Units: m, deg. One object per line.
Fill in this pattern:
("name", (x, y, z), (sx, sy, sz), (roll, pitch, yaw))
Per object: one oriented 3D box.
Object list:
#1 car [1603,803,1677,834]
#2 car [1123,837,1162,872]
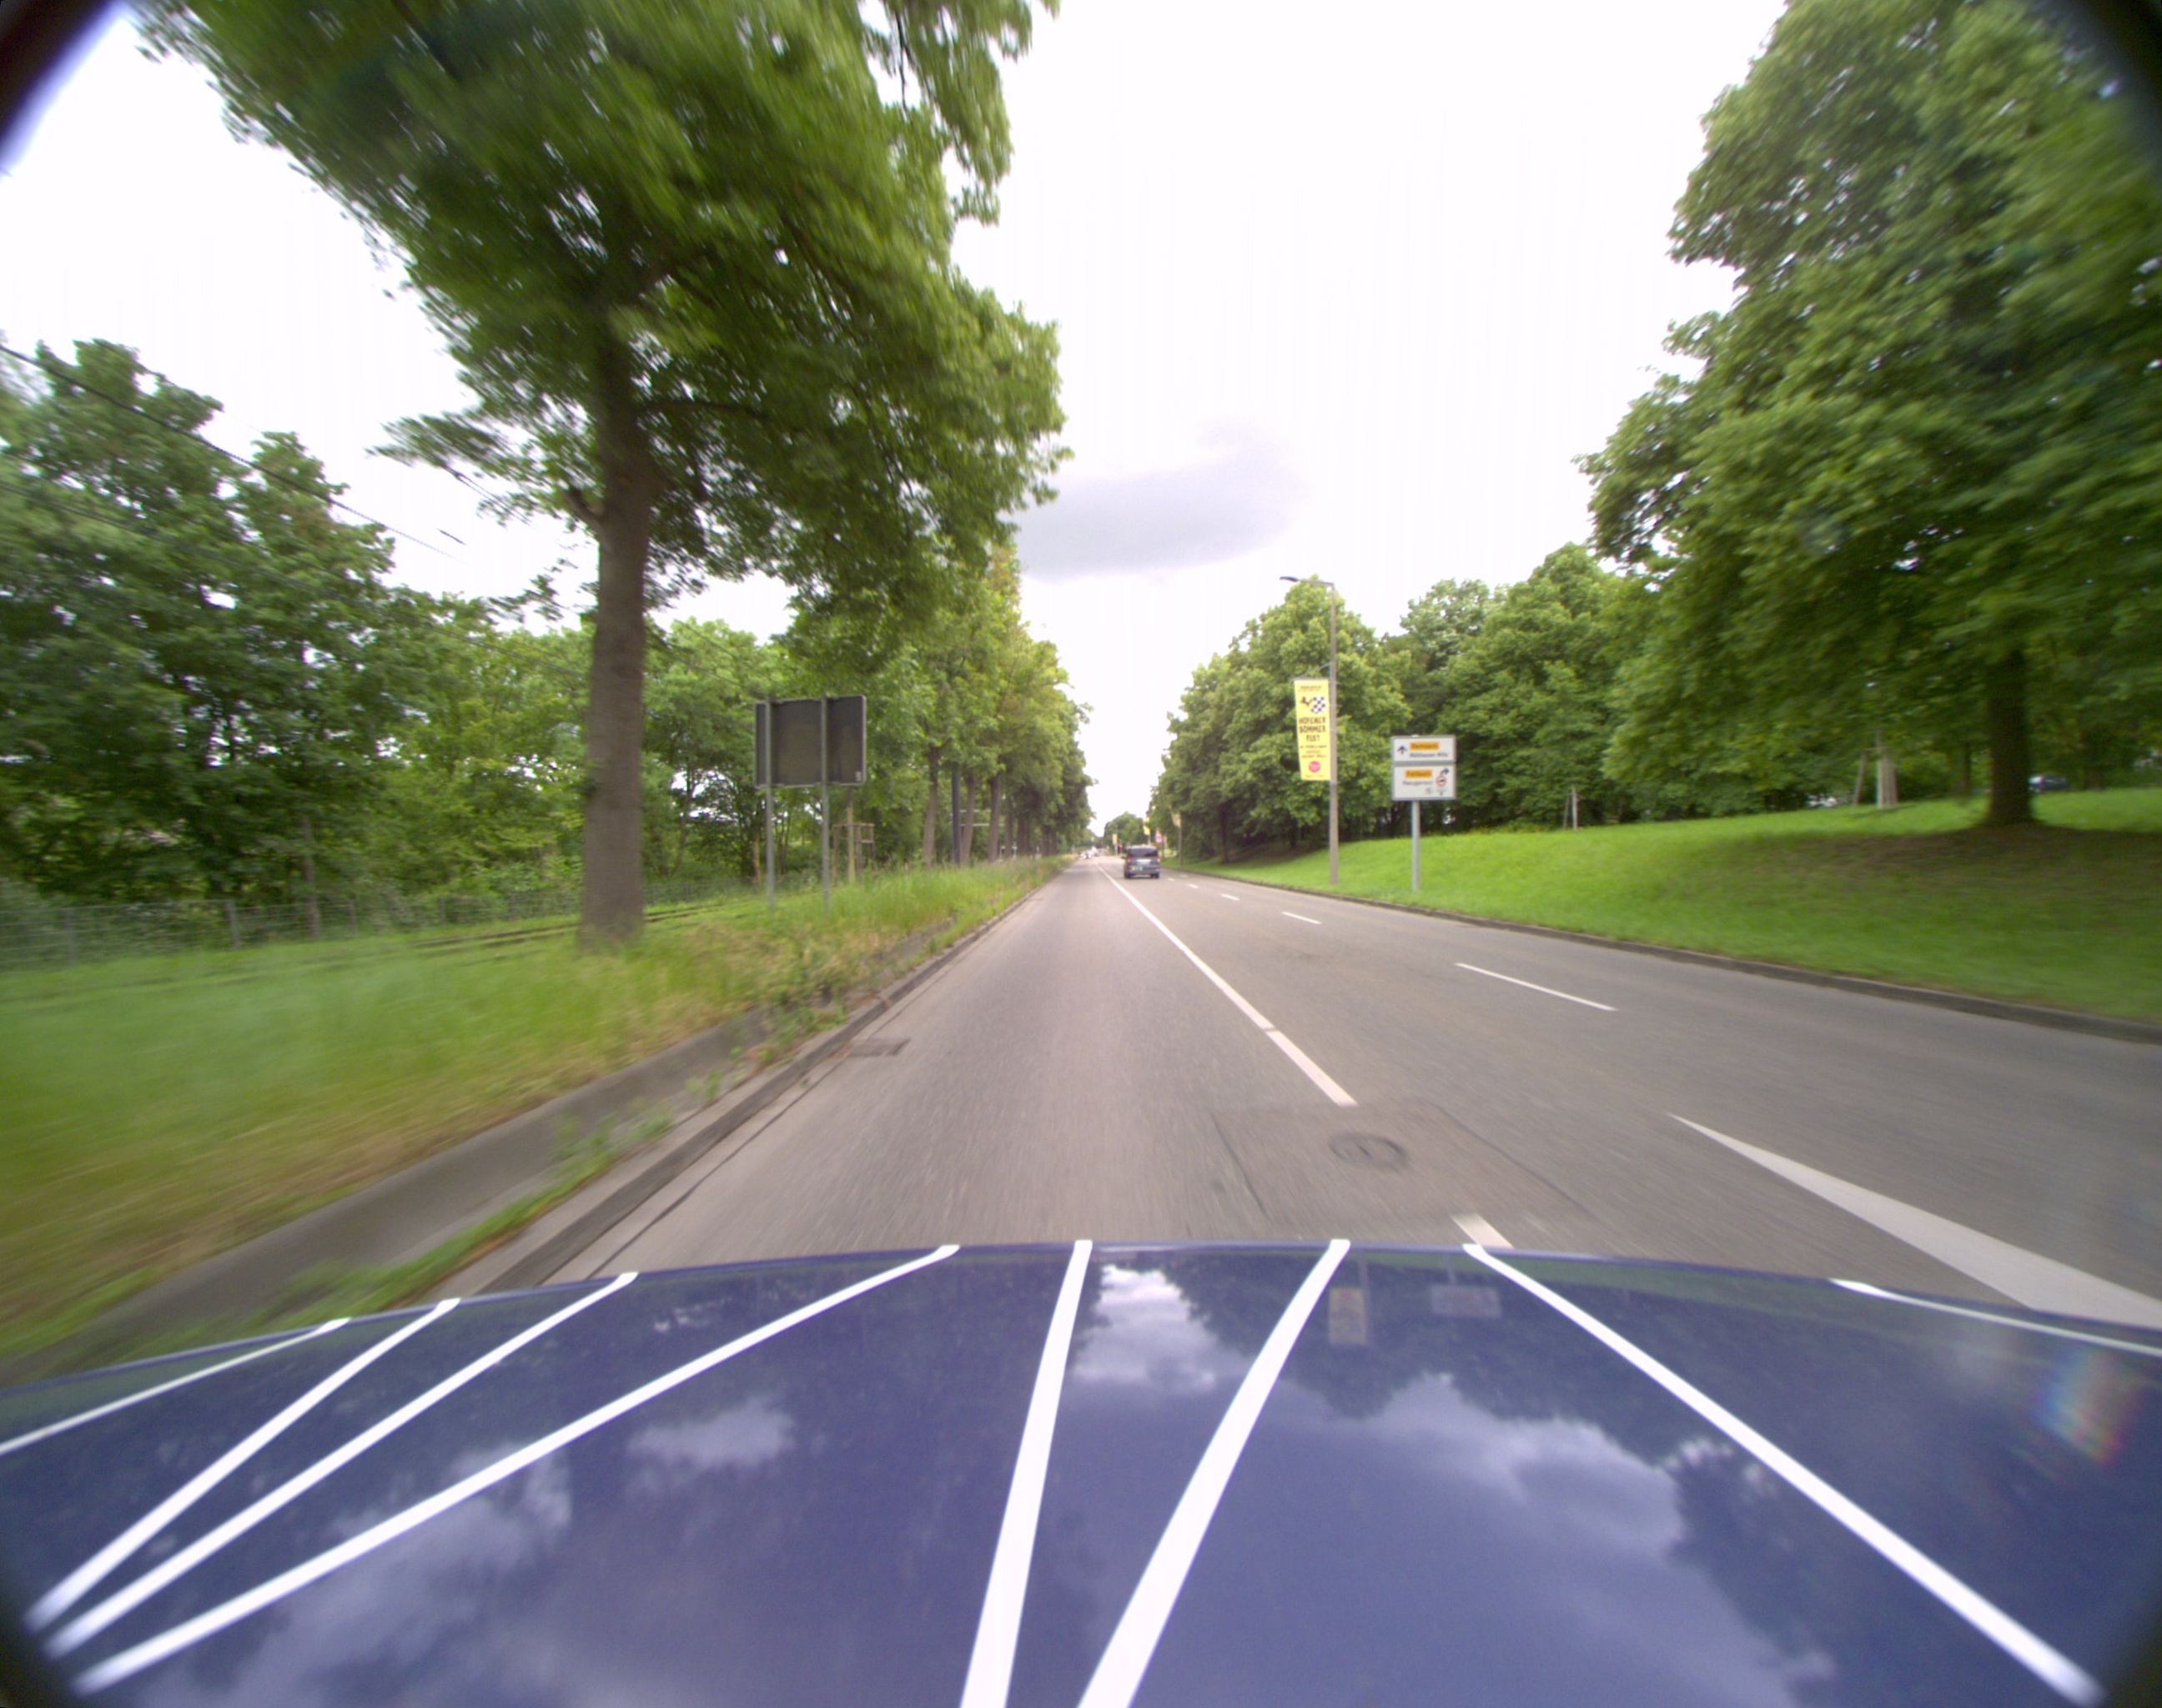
("car", (37.493, -2.358, 50.948), (4.911, 1.884, 1.996), (-3, 1, -27))
("car", (3.617, -0.018, 45.578), (1.998, 1.944, 5.183), (-1, 1, 1))
